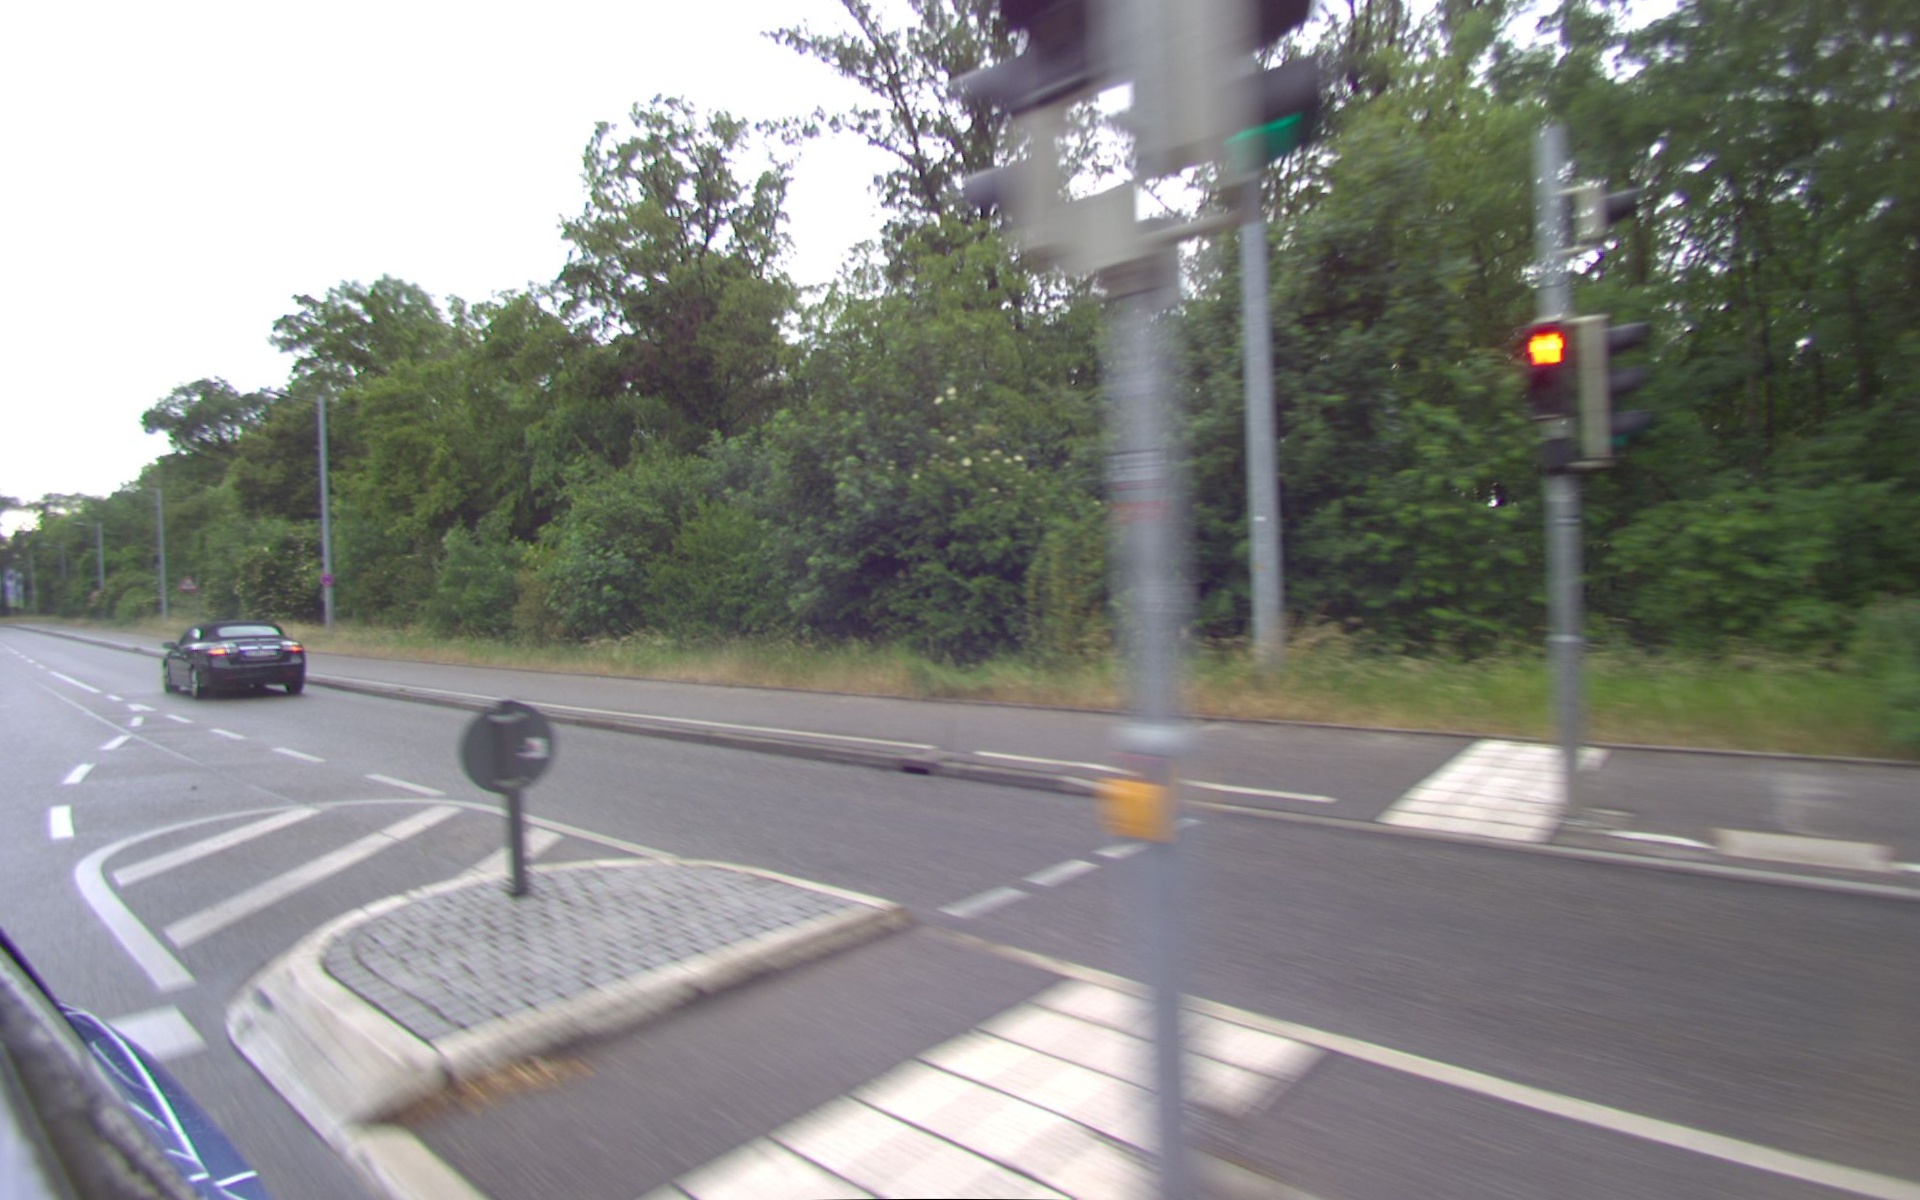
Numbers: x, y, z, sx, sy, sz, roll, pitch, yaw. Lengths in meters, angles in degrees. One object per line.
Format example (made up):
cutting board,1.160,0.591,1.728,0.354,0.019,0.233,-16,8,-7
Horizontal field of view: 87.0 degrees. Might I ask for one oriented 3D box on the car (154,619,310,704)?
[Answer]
car,-14.455,1.122,19.995,4.414,1.471,1.724,-1,-1,43
